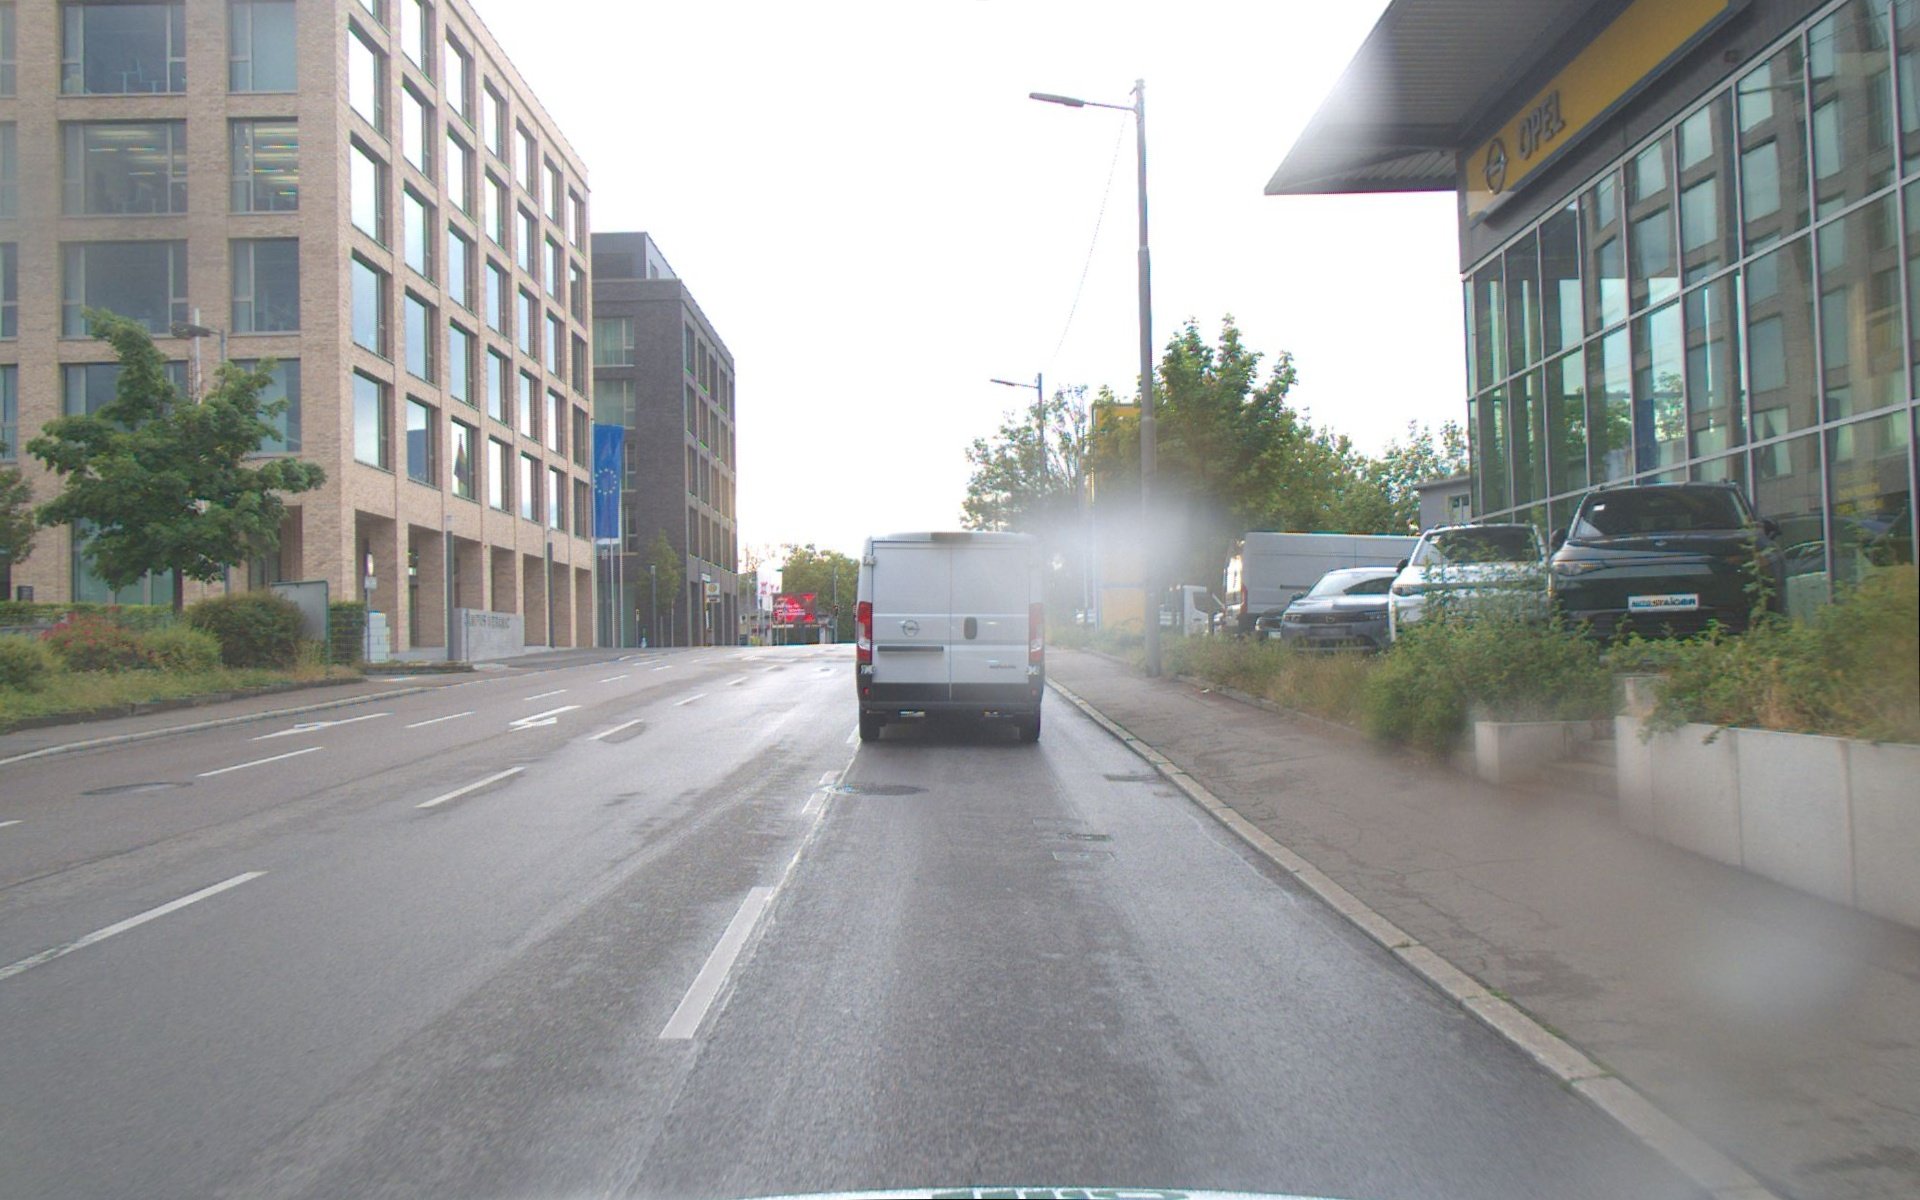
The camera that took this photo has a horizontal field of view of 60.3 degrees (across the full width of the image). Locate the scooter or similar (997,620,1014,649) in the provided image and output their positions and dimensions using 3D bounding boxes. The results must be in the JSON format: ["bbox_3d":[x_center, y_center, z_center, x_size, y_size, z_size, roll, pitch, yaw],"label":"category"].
[{"bbox_3d":[2.495,1.901,90.972,0.428,1.615,1.263,0,-1,-23],"label":"scooter or similar"}]

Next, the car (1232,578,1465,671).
[{"bbox_3d":[7.027,0.413,29.669,4.483,1.480,1.885,-1,-2,-44],"label":"car"}]

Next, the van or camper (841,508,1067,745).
[{"bbox_3d":[-0.061,0.299,19.457,2.292,2.398,5.199,0,-1,0],"label":"van or camper"}]

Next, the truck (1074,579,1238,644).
[{"bbox_3d":[6.432,0.383,54.720,5.045,2.049,2.344,0,-1,-3],"label":"truck"}]

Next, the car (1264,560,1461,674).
[{"bbox_3d":[6.217,0.262,25.163,1.872,1.480,4.566,-4,-2,27],"label":"car"}]

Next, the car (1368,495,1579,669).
[{"bbox_3d":[6.274,-0.150,19.848,1.953,1.740,4.577,-4,-2,22],"label":"car"}]

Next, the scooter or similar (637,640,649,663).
[{"bbox_3d":[-15.844,2.576,82.674,0.343,1.090,1.428,-1,-3,0],"label":"scooter or similar"}]

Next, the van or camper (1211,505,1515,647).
[{"bbox_3d":[8.158,-0.473,33.899,5.620,2.772,2.351,0,-1,-1],"label":"van or camper"}]

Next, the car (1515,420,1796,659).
[{"bbox_3d":[6.397,-0.437,15.065,1.954,1.740,4.425,-4,-2,25],"label":"car"}]

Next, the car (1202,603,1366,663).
[{"bbox_3d":[8.447,0.858,43.384,3.905,1.453,1.894,-1,-1,0],"label":"car"}]

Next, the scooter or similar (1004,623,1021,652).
[{"bbox_3d":[2.903,2.053,91.152,0.428,1.592,1.264,0,-1,-22],"label":"scooter or similar"}]
